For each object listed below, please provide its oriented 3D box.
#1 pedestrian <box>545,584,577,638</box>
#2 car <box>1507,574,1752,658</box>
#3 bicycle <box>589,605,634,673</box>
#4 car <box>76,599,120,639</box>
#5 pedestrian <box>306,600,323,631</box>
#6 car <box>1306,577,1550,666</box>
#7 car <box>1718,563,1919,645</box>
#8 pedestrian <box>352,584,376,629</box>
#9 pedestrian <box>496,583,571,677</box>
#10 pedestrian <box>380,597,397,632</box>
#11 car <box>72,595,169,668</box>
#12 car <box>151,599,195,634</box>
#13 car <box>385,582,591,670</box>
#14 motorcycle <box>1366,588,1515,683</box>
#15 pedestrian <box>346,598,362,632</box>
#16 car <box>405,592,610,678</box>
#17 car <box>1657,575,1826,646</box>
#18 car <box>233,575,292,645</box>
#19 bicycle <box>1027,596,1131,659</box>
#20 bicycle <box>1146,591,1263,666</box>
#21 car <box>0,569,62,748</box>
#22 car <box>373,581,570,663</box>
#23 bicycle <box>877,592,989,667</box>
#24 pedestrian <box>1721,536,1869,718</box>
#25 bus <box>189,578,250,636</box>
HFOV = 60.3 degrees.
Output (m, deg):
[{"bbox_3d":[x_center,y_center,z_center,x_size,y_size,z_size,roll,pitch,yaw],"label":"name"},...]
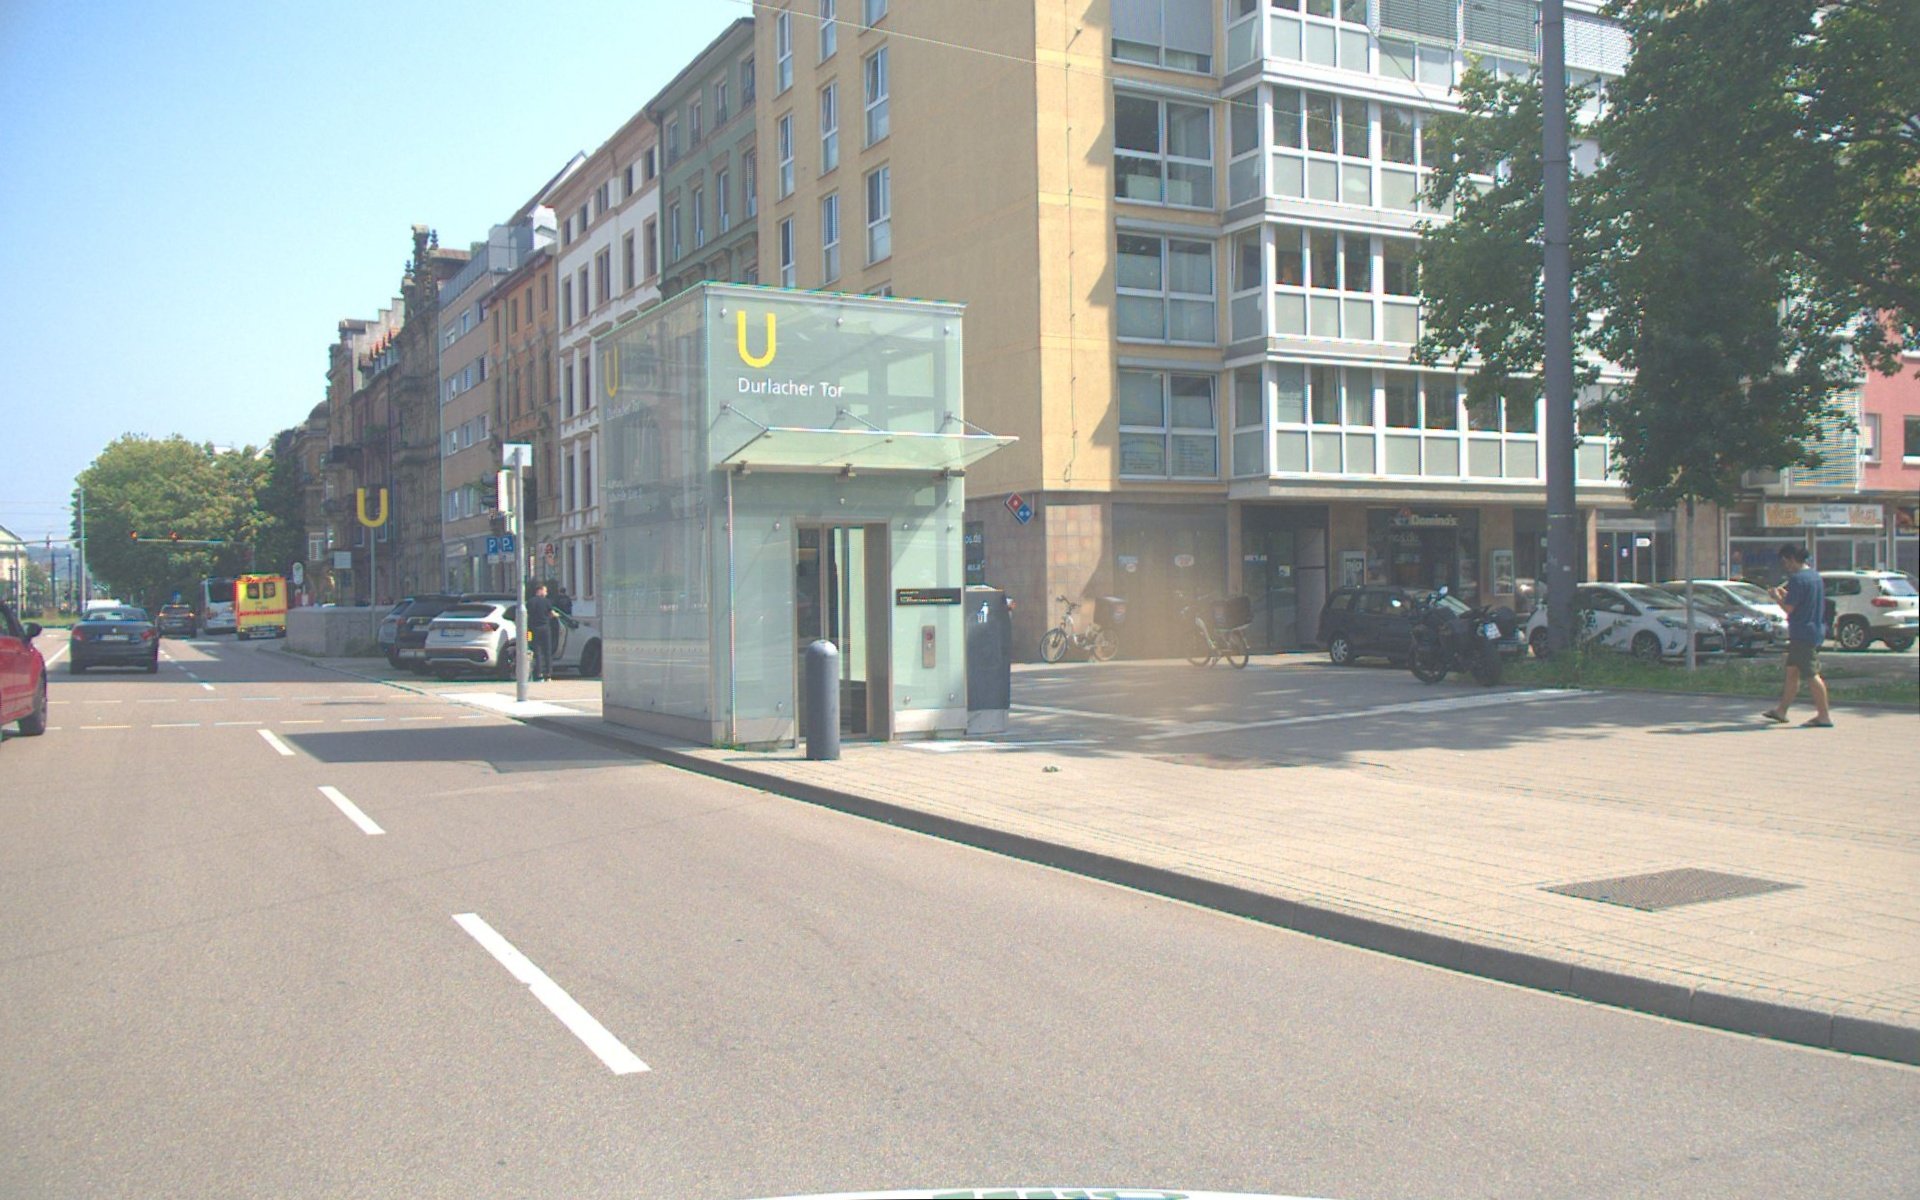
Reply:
[{"bbox_3d":[-14.020,0.386,58.150,0.835,1.878,0.677,-3,1,-37],"label":"pedestrian"},{"bbox_3d":[13.021,0.288,32.426,1.880,1.496,4.203,-1,1,-30],"label":"car"},{"bbox_3d":[-7.069,0.786,33.526,0.467,1.319,1.777,-2,0,-25],"label":"bicycle"},{"bbox_3d":[-40.835,0.924,78.314,1.770,1.811,3.961,-1,-1,-29],"label":"car"},{"bbox_3d":[-34.798,0.833,89.125,0.683,1.696,0.602,-1,0,-2],"label":"pedestrian"},{"bbox_3d":[8.475,0.359,30.310,1.880,1.496,4.203,-1,1,-30],"label":"car"},{"bbox_3d":[19.103,0.067,36.531,1.766,1.695,4.032,-1,1,-30],"label":"car"},{"bbox_3d":[-24.002,0.262,66.630,0.838,1.759,0.965,-2,3,-21],"label":"pedestrian"},{"bbox_3d":[-7.982,0.550,31.000,0.886,1.734,1.034,0,-1,36],"label":"pedestrian"},{"bbox_3d":[-27.305,0.687,79.053,0.688,1.696,0.598,-1,0,-26],"label":"pedestrian"},{"bbox_3d":[-18.337,0.637,36.165,1.769,1.456,3.965,-1,1,-27],"label":"car"},{"bbox_3d":[-39.745,0.861,83.468,1.770,1.707,3.961,-1,-1,-29],"label":"car"},{"bbox_3d":[-9.896,0.505,35.048,1.939,1.717,4.393,-1,1,21],"label":"car"},{"bbox_3d":[6.224,0.439,21.565,0.894,1.156,2.104,-1,0,-15],"label":"motorcycle"},{"bbox_3d":[-31.145,0.773,85.033,0.688,1.696,1.056,-1,0,-26],"label":"pedestrian"},{"bbox_3d":[-8.716,0.656,32.143,1.766,1.526,3.781,1,0,26],"label":"car"},{"bbox_3d":[16.759,0.212,35.574,1.384,1.453,3.067,-1,1,-30],"label":"car"},{"bbox_3d":[-31.357,0.408,74.321,2.269,2.938,5.557,-2,1,-24],"label":"car"},{"bbox_3d":[2.308,0.528,32.134,1.930,1.163,0.594,-1,0,-13],"label":"bicycle"},{"bbox_3d":[4.303,0.482,29.359,0.783,1.260,2.412,-1,0,-28],"label":"bicycle"},{"bbox_3d":[-10.100,0.574,16.142,1.737,1.646,4.057,-2,0,-20],"label":"car"},{"bbox_3d":[-11.278,0.467,38.575,1.995,1.743,4.667,-1,1,20],"label":"car"},{"bbox_3d":[-0.519,0.570,34.079,0.883,1.429,3.361,-1,1,26],"label":"bicycle"},{"bbox_3d":[7.812,0.242,15.494,0.783,1.637,0.940,-2,0,-31],"label":"pedestrian"},{"bbox_3d":[-42.972,0.405,95.748,2.504,3.085,12.323,-1,0,-27],"label":"bus"}]
